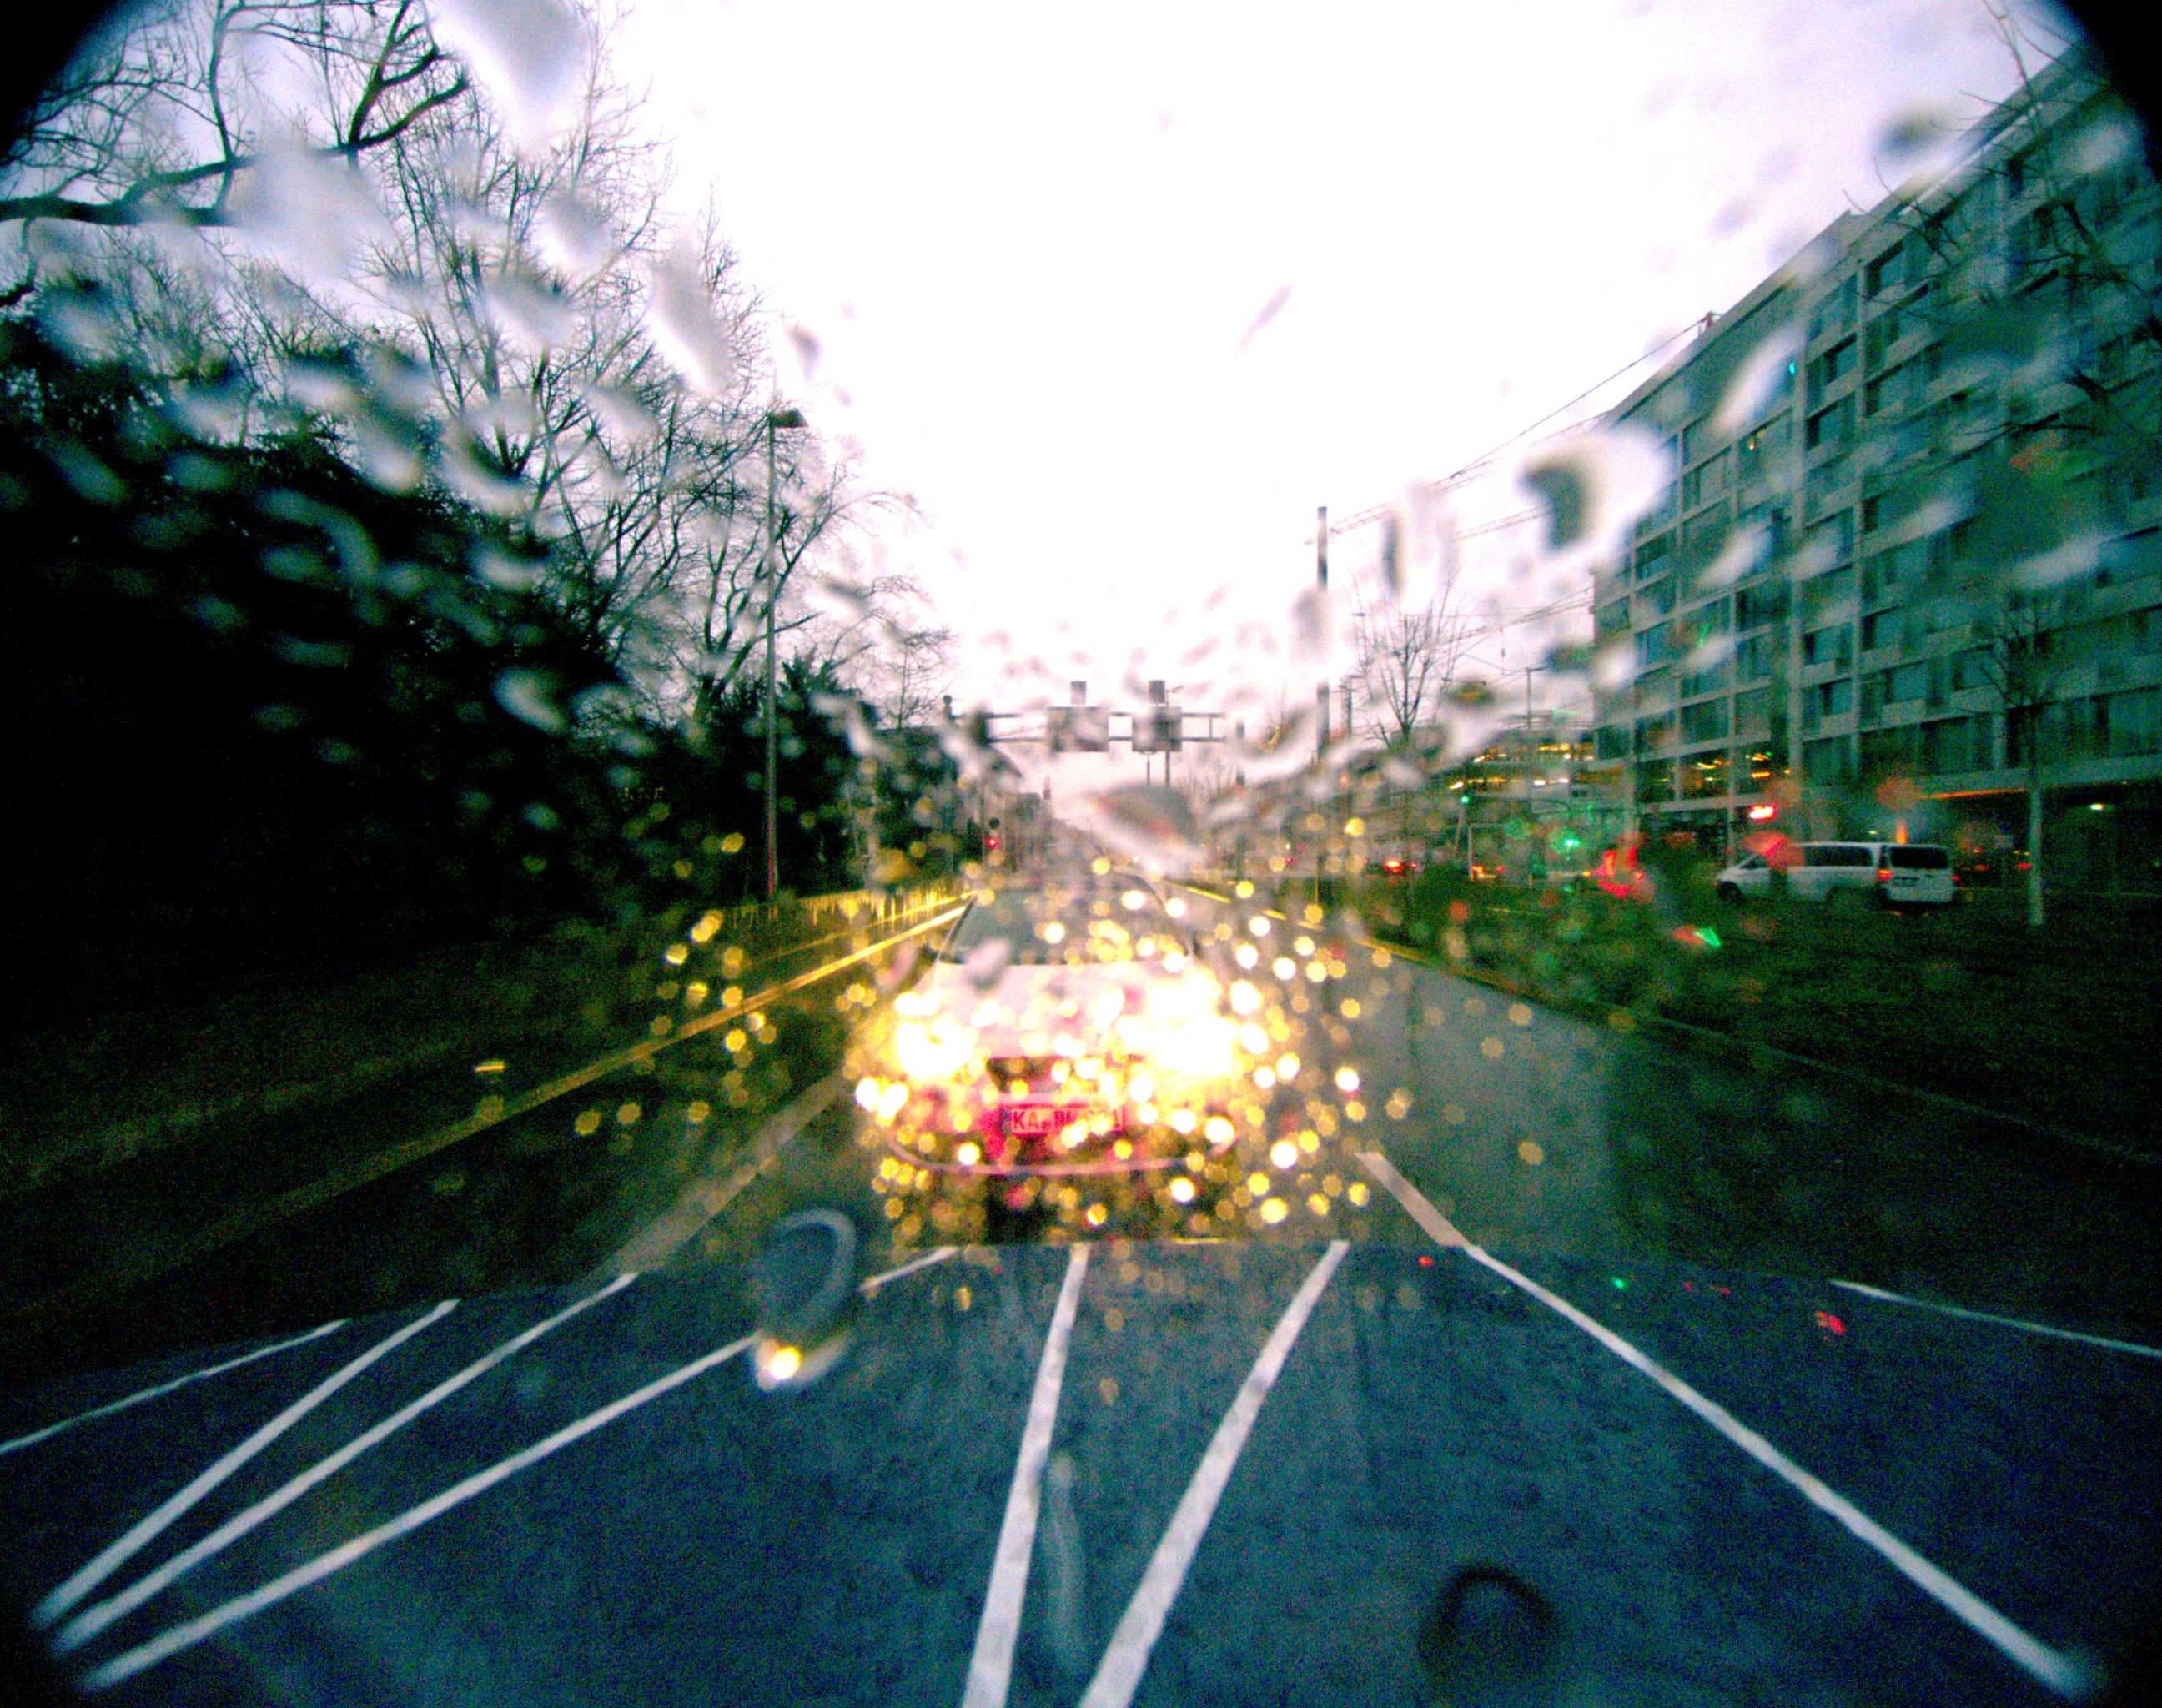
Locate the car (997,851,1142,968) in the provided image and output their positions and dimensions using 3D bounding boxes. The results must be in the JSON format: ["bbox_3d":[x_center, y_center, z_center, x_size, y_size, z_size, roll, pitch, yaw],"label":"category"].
[{"bbox_3d":[-0.215,0.803,13.276,2.073,1.618,4.267,-2,1,-1],"label":"car"}]

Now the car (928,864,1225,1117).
[{"bbox_3d":[0.000,0.902,6.931,1.886,1.552,4.171,0,0,1],"label":"car"}]

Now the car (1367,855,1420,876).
[{"bbox_3d":[20.486,0.732,49.948,1.816,1.267,3.999,0,0,-1],"label":"car"}]

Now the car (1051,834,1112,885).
[{"bbox_3d":[0.037,0.169,27.509,1.998,1.618,4.268,-2,0,0],"label":"car"}]

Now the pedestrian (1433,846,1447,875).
[{"bbox_3d":[23.185,0.425,49.082,0.709,1.794,0.771,-2,1,17],"label":"pedestrian"}]

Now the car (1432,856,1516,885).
[{"bbox_3d":[20.227,0.799,39.285,2.111,1.392,4.257,0,0,-1],"label":"car"}]

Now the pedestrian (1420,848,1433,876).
[{"bbox_3d":[22.516,0.503,49.534,0.708,1.794,0.771,-2,1,22],"label":"pedestrian"}]

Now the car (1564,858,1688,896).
[{"bbox_3d":[20.329,0.813,28.564,1.816,1.300,4.000,0,0,1],"label":"car"}]

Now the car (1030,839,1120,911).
[{"bbox_3d":[-0.102,0.478,20.057,2.073,1.618,4.268,-2,1,1],"label":"car"}]

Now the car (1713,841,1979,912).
[{"bbox_3d":[20.036,0.529,20.352,2.086,1.659,5.043,0,0,1],"label":"car"}]
